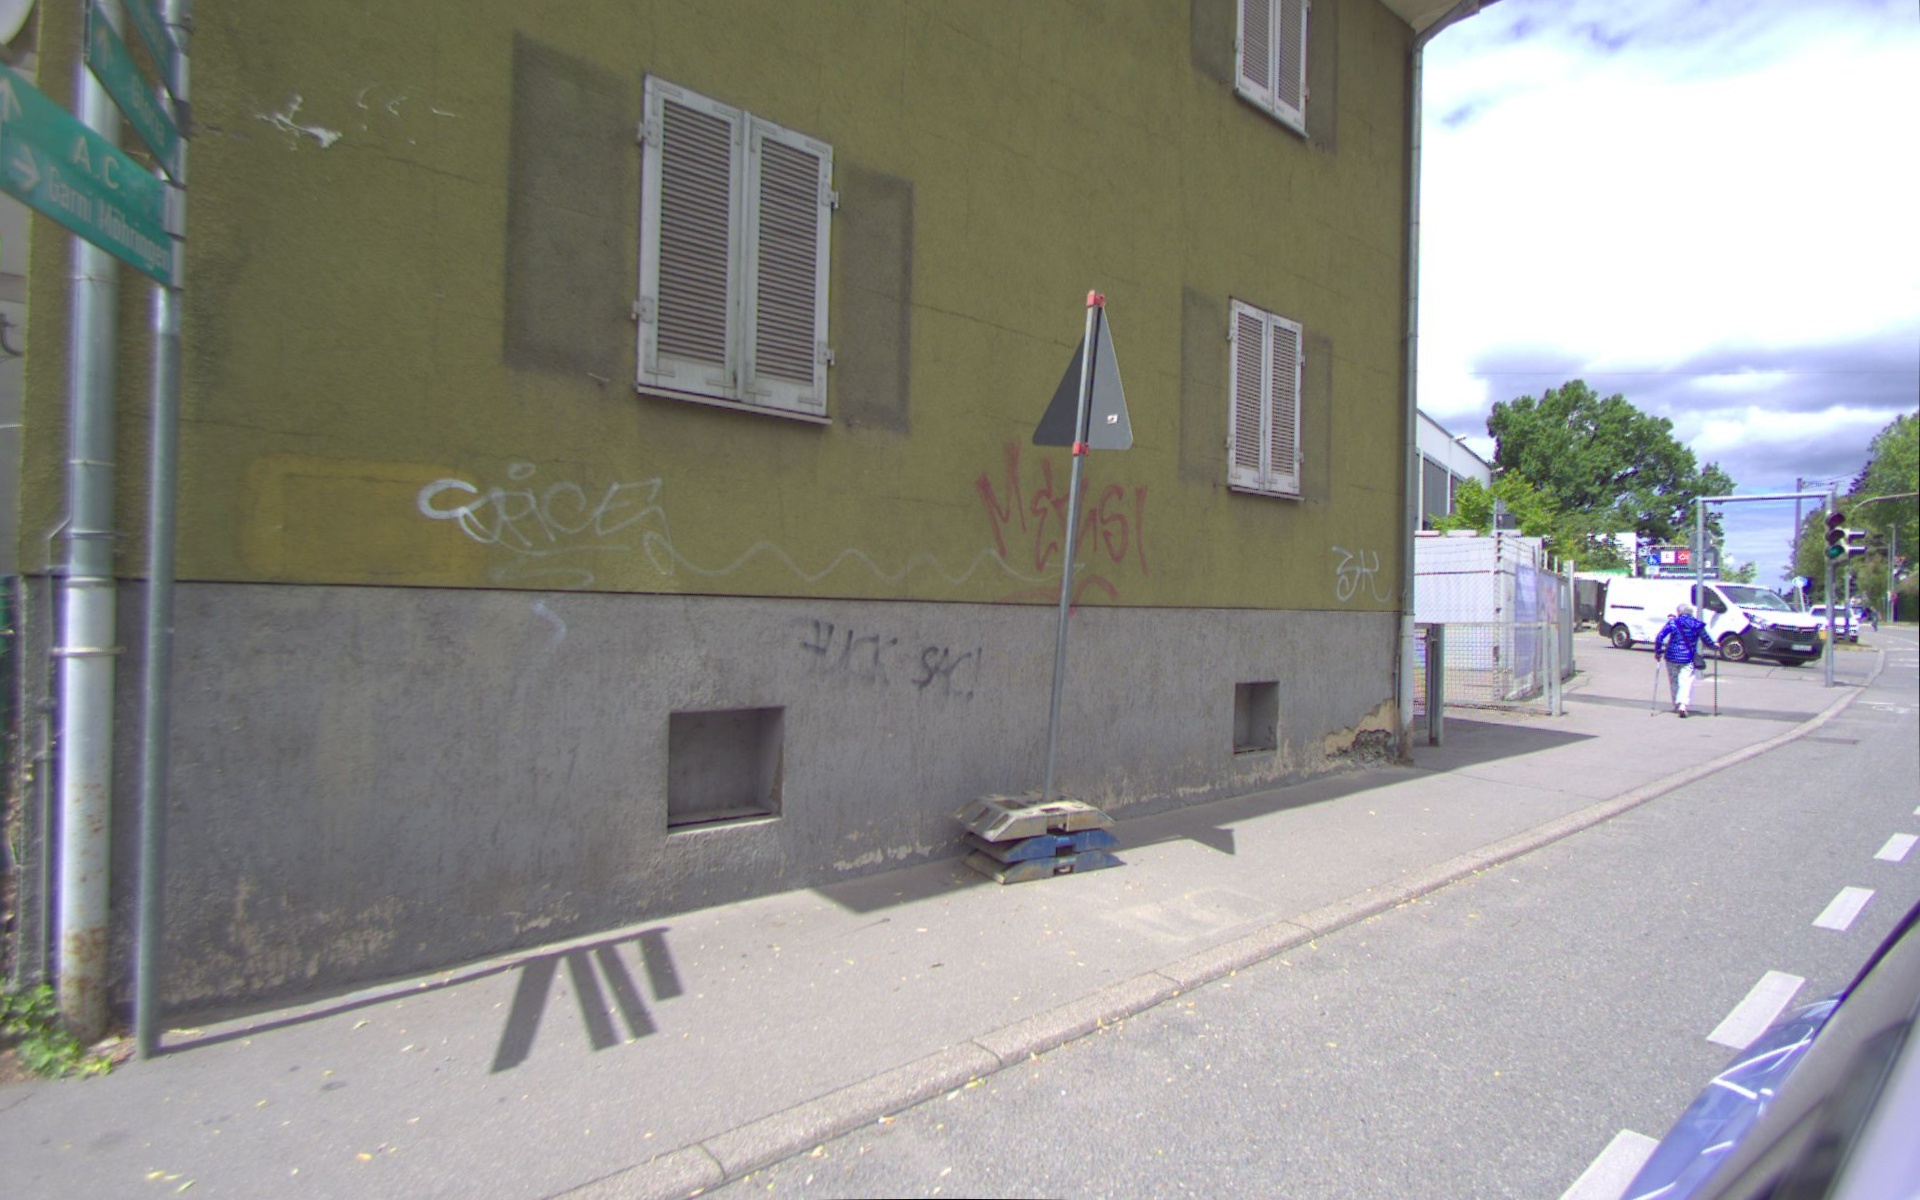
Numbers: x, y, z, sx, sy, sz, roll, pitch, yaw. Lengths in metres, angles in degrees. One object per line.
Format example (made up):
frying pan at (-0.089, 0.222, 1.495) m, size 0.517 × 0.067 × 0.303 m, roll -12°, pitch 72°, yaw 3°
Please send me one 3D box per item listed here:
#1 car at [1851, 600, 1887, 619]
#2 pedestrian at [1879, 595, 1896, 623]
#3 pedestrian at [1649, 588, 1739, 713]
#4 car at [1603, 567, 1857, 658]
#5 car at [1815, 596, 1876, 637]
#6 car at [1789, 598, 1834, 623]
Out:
car at (78.607, 0.806, 87.577) m, size 1.839 × 1.575 × 3.900 m, roll -1°, pitch 0°, yaw 35°
pedestrian at (56.155, 0.527, 61.249) m, size 0.546 × 1.694 × 0.584 m, roll -1°, pitch -1°, yaw 20°
pedestrian at (9.929, 0.651, 13.684) m, size 0.824 × 1.591 × 0.972 m, roll 2°, pitch 1°, yaw 44°
car at (19.287, 0.230, 25.772) m, size 1.960 × 2.048 × 5.359 m, roll 1°, pitch 1°, yaw -6°
car at (37.426, 0.656, 42.844) m, size 1.788 × 1.549 × 3.865 m, roll 4°, pitch 3°, yaw 40°
car at (54.716, 0.634, 65.080) m, size 1.694 × 1.551 × 3.952 m, roll -1°, pitch 0°, yaw 34°
